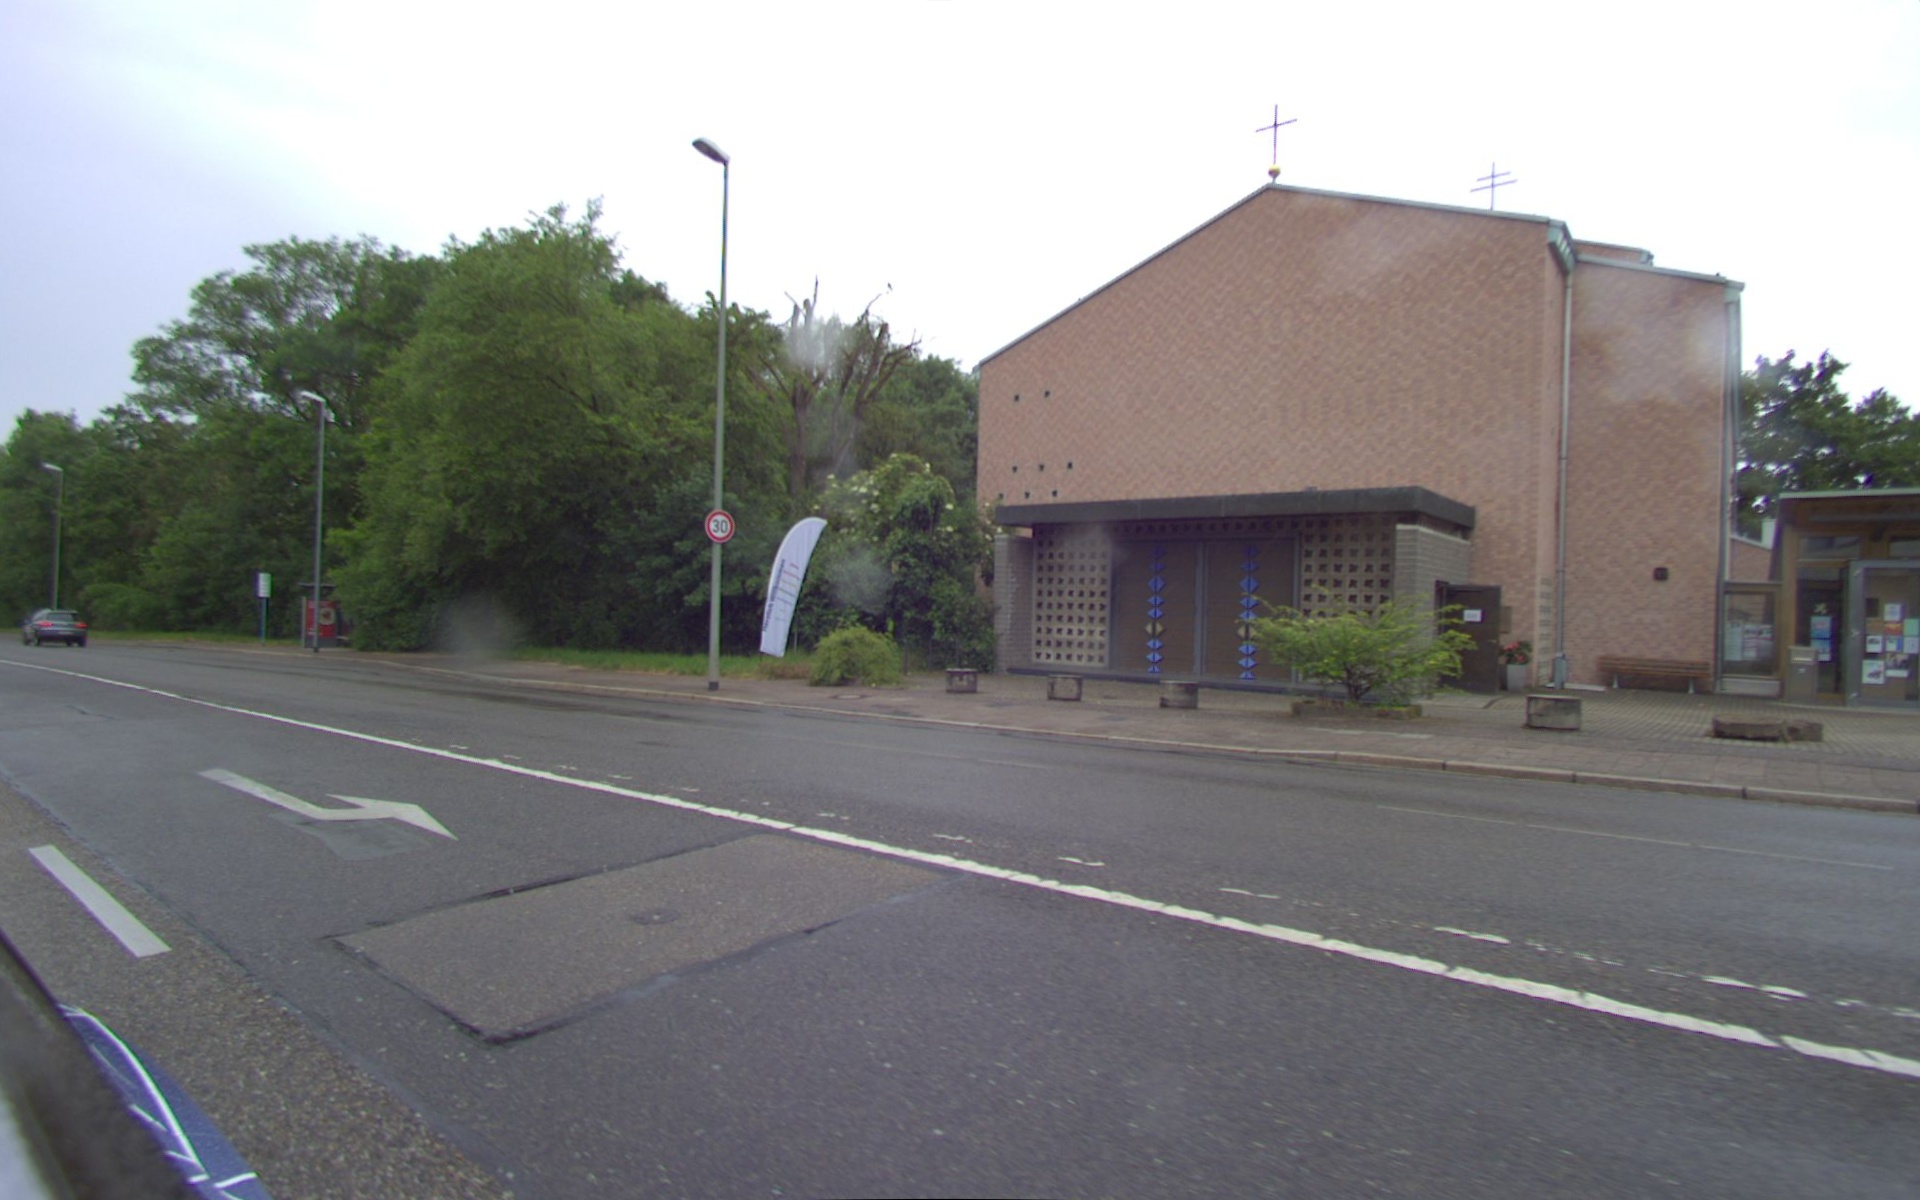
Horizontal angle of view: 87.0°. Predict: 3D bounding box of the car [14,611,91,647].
[{"bbox_3d":[-41.989,1.330,46.798,4.312,1.603,1.890,-1,-2,38],"label":"car"}]
